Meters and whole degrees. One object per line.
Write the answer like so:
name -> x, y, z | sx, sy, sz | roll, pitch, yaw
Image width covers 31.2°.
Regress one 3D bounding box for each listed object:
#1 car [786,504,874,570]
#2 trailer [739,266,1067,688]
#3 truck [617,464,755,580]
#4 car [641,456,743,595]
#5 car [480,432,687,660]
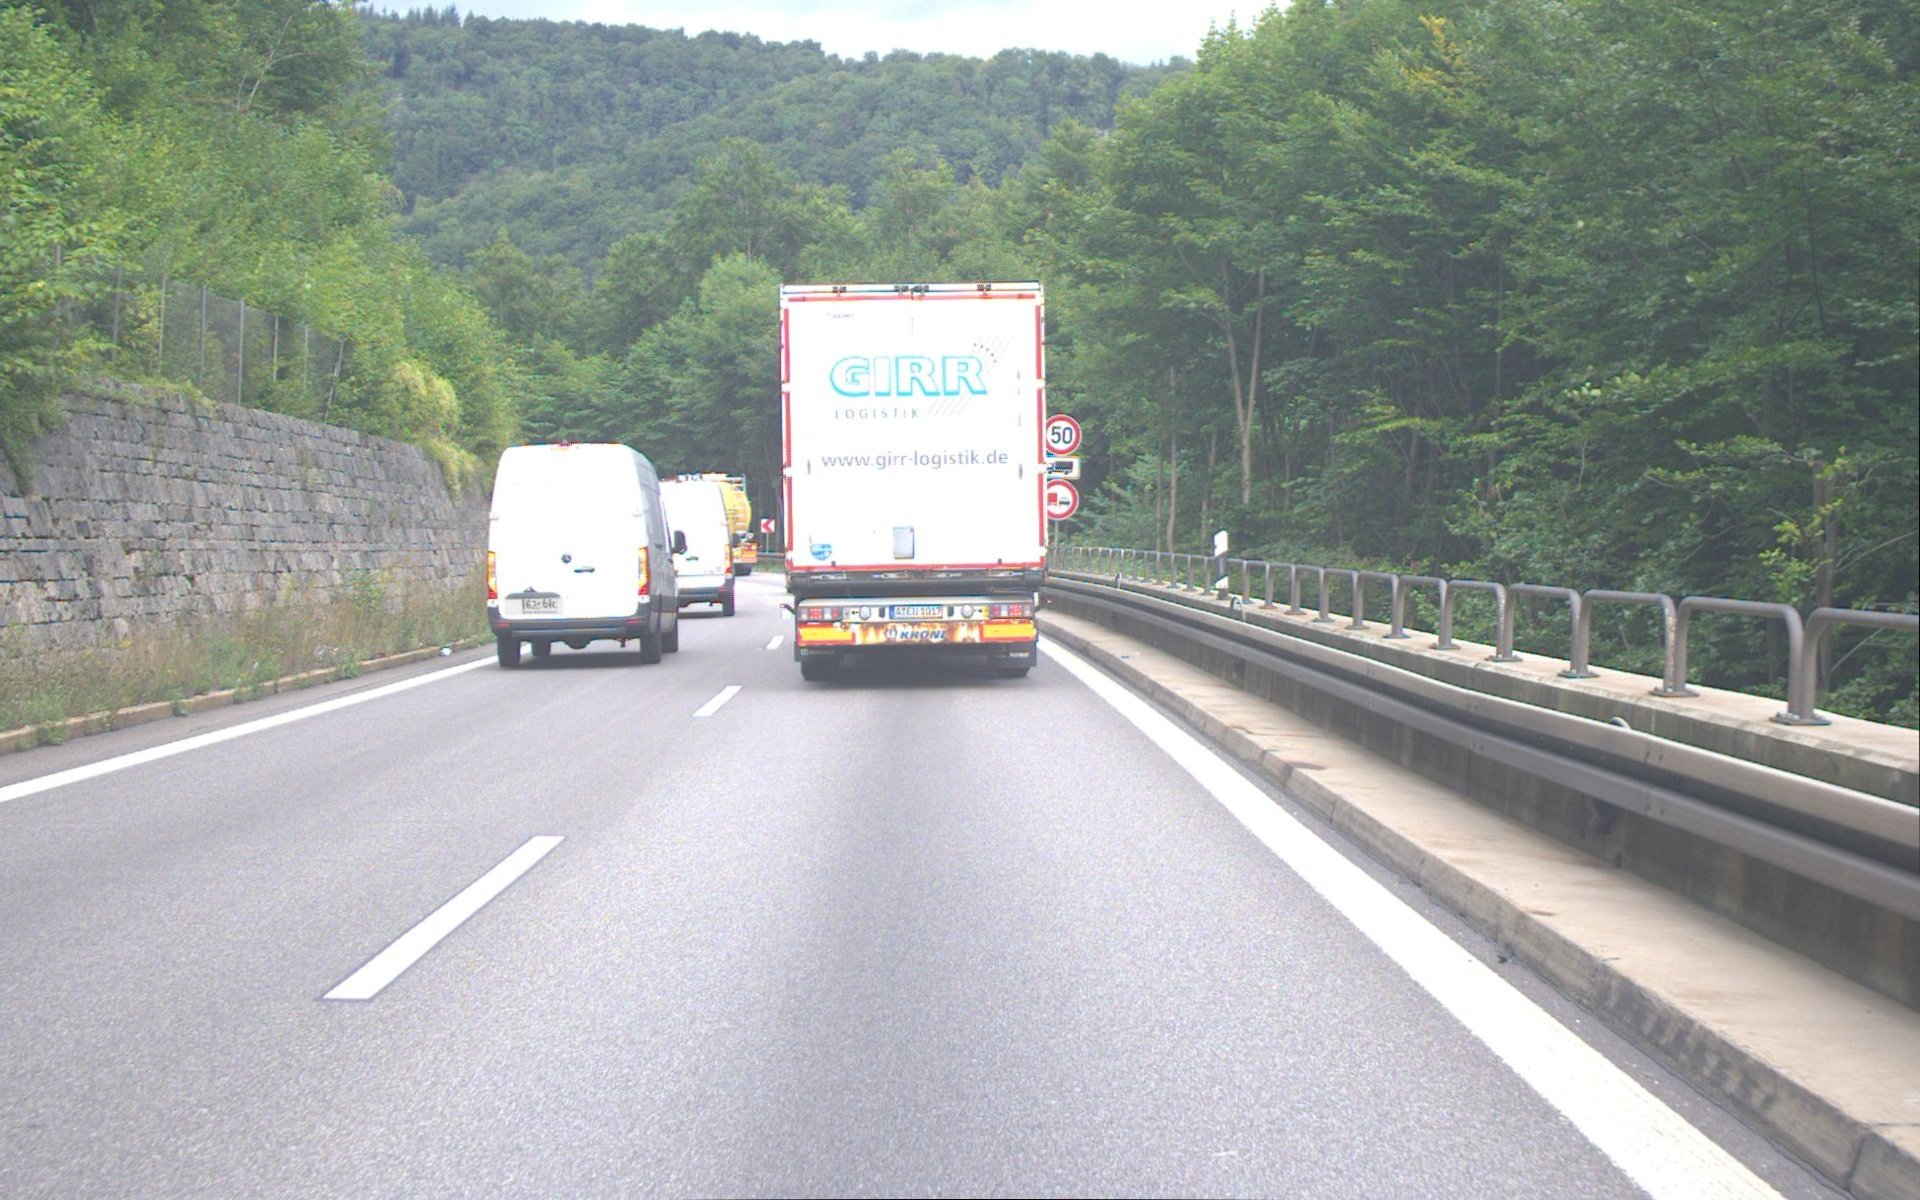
car -> -3.405, -1.642, 89.343 | 1.993, 1.656, 4.001 | 0, 1, -6
trailer -> -0.677, -1.431, 38.926 | 3.057, 3.972, 12.138 | 1, 2, -1
truck -> -10.363, -3.001, 128.391 | 3.057, 3.972, 13.703 | -3, 3, -13
car -> -5.367, -1.494, 69.021 | 1.939, 2.663, 5.992 | 0, 1, -4
car -> -4.699, -0.708, 43.831 | 1.989, 2.663, 6.937 | 0, 1, -1
